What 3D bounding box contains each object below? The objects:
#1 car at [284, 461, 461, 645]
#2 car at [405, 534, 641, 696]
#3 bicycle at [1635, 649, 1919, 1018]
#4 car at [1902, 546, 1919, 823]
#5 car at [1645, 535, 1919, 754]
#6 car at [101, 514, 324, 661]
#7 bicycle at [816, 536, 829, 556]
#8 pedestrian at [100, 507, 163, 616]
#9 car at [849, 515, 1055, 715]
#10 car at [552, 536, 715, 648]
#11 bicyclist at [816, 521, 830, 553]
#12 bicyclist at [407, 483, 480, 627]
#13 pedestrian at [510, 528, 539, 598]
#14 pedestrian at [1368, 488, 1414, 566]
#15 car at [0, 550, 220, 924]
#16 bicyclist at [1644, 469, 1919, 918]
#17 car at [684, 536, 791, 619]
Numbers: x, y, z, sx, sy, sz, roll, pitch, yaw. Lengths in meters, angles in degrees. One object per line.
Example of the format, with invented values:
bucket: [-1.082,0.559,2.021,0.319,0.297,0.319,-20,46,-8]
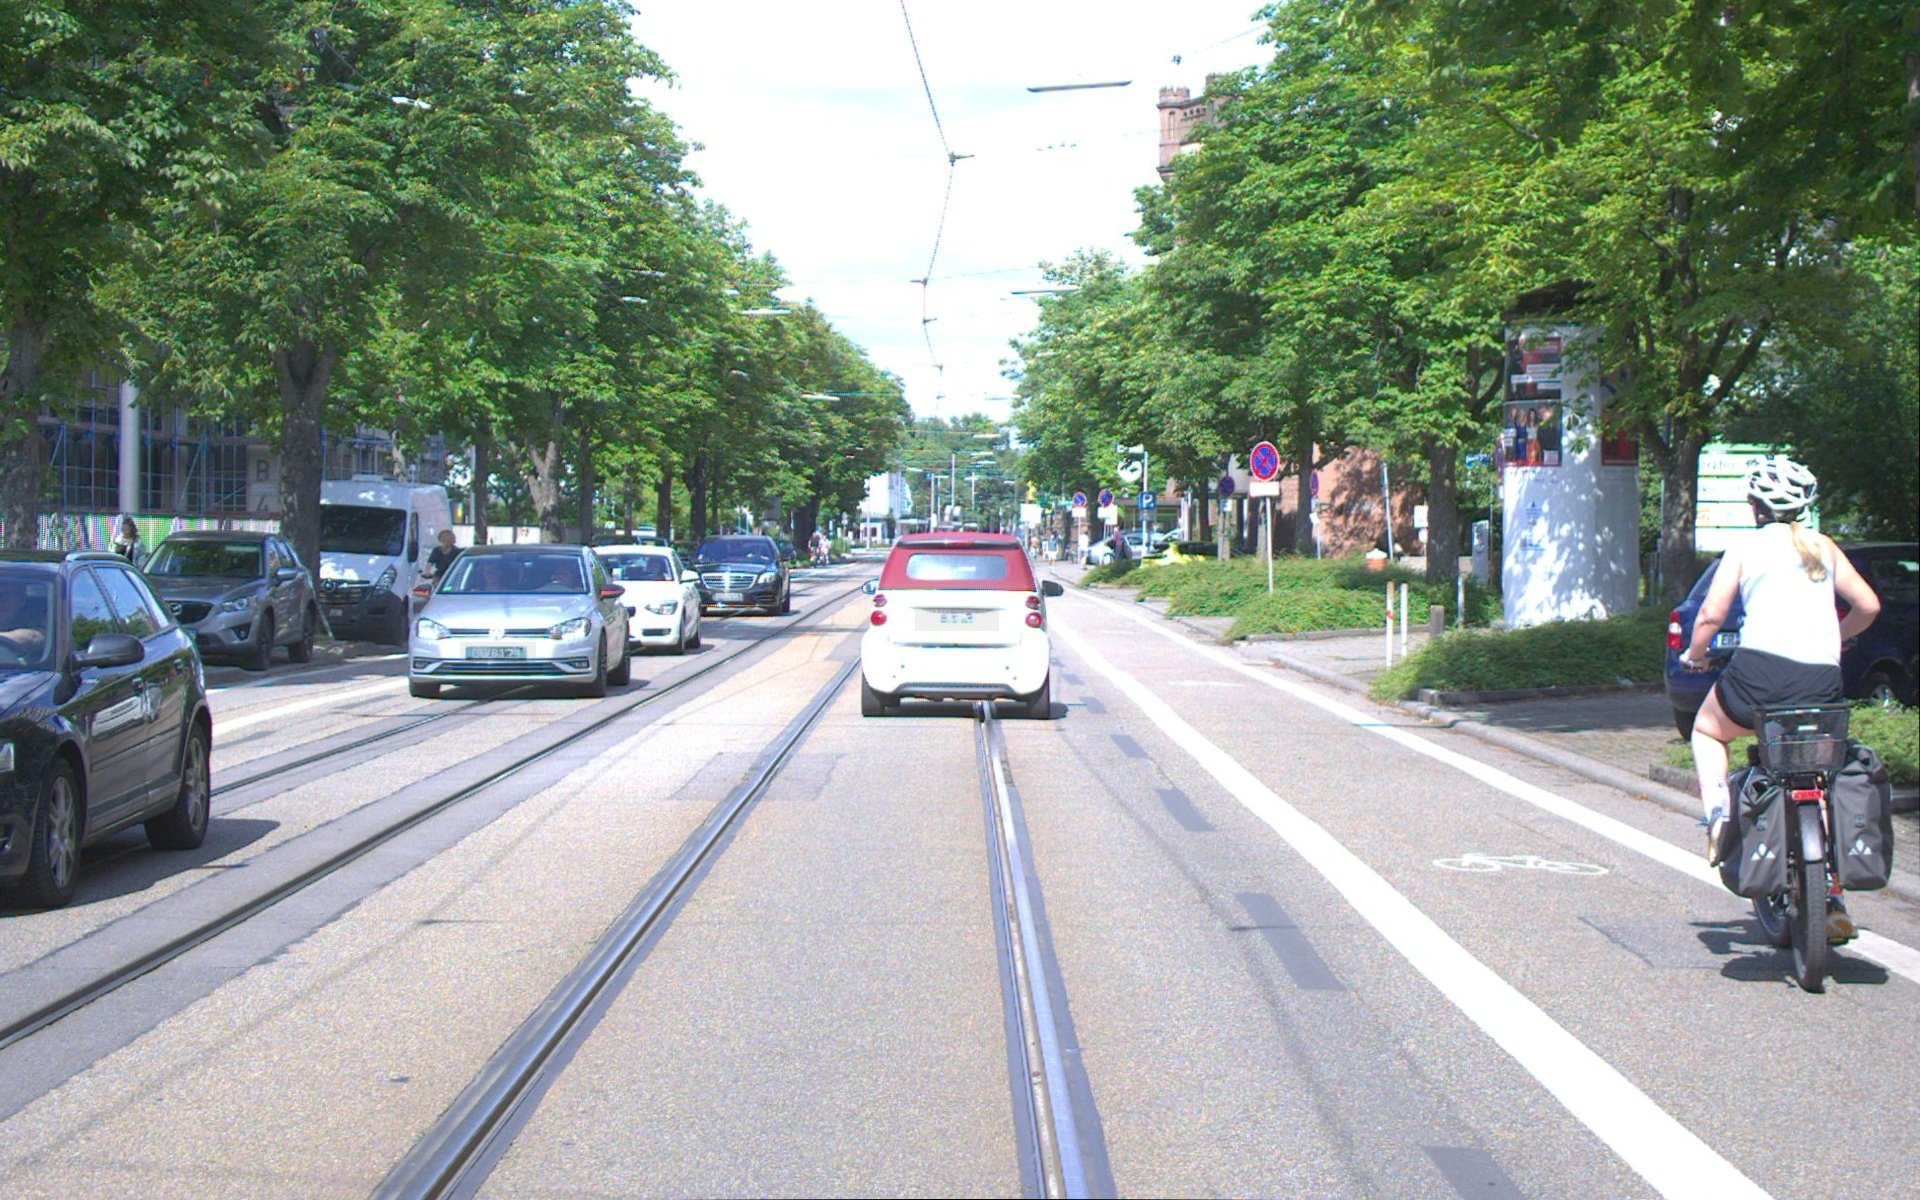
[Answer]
car: [-8.963,-0.720,52.865,1.769,2.630,5.322,2,1,0]
car: [-4.096,0.106,32.740,1.773,1.411,3.852,-1,1,-1]
bicycle: [2.988,0.783,12.352,0.875,1.122,2.135,2,1,6]
car: [7.029,0.489,18.994,3.794,1.469,1.652,0,2,-41]
car: [6.926,0.269,25.707,1.615,1.481,3.990,0,2,44]
car: [-9.104,-0.183,42.200,1.804,1.656,4.103,2,1,0]
bicycle: [-7.058,-2.775,176.683,0.618,0.970,1.717,1,1,0]
pedestrian: [-12.522,-0.585,51.967,0.764,1.614,0.594,2,1,0]
car: [-0.104,0.133,29.662,1.665,1.619,3.621,0,0,-1]
car: [-4.230,-0.135,45.108,1.686,1.401,4.227,0,1,1]
bicyclist: [-7.012,-3.233,176.612,0.658,1.574,0.946,2,1,-2]
bicyclist: [-7.339,-0.630,48.890,0.876,2.007,0.834,-2,0,-1]
pedestrian: [-12.535,-1.064,98.977,0.802,2.007,0.485,0,1,-9]
pedestrian: [11.374,-1.923,90.773,0.977,2.007,1.093,2,1,-1]
car: [-4.404,0.482,14.598,1.723,1.371,4.000,-1,1,-1]
bicyclist: [3.002,0.316,12.433,0.890,1.523,1.085,2,1,6]
car: [-4.204,-0.445,65.581,1.800,1.503,4.536,1,1,-1]
